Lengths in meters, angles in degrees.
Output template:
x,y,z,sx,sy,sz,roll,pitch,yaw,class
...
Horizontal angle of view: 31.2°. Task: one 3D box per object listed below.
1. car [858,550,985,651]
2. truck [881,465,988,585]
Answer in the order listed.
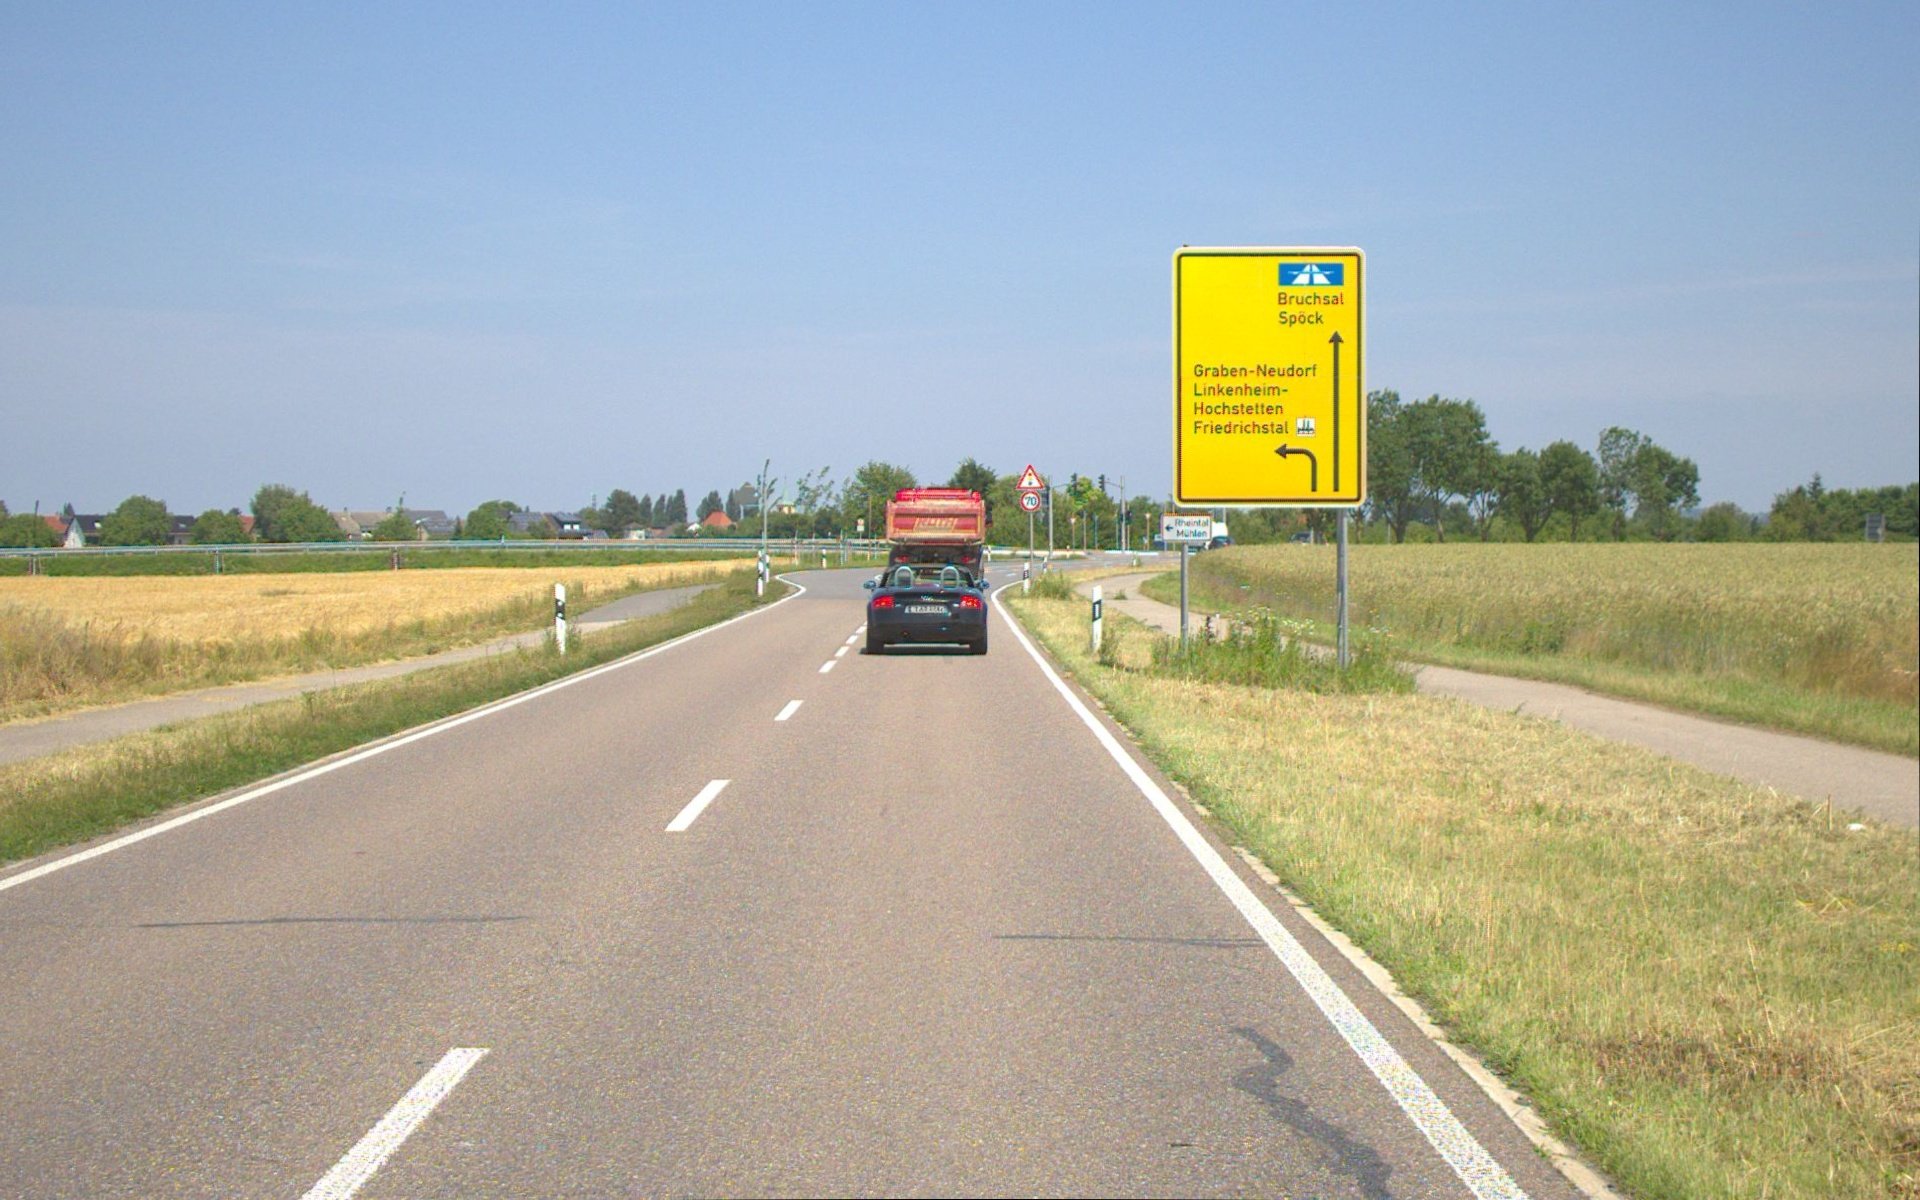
x,y,z,sx,sy,sz,roll,pitch,yaw,class
-0.547,-0.005,50.171,1.747,1.371,3.679,2,0,0,car
-0.688,-1.962,92.729,2.714,3.042,8.165,1,0,0,truck
